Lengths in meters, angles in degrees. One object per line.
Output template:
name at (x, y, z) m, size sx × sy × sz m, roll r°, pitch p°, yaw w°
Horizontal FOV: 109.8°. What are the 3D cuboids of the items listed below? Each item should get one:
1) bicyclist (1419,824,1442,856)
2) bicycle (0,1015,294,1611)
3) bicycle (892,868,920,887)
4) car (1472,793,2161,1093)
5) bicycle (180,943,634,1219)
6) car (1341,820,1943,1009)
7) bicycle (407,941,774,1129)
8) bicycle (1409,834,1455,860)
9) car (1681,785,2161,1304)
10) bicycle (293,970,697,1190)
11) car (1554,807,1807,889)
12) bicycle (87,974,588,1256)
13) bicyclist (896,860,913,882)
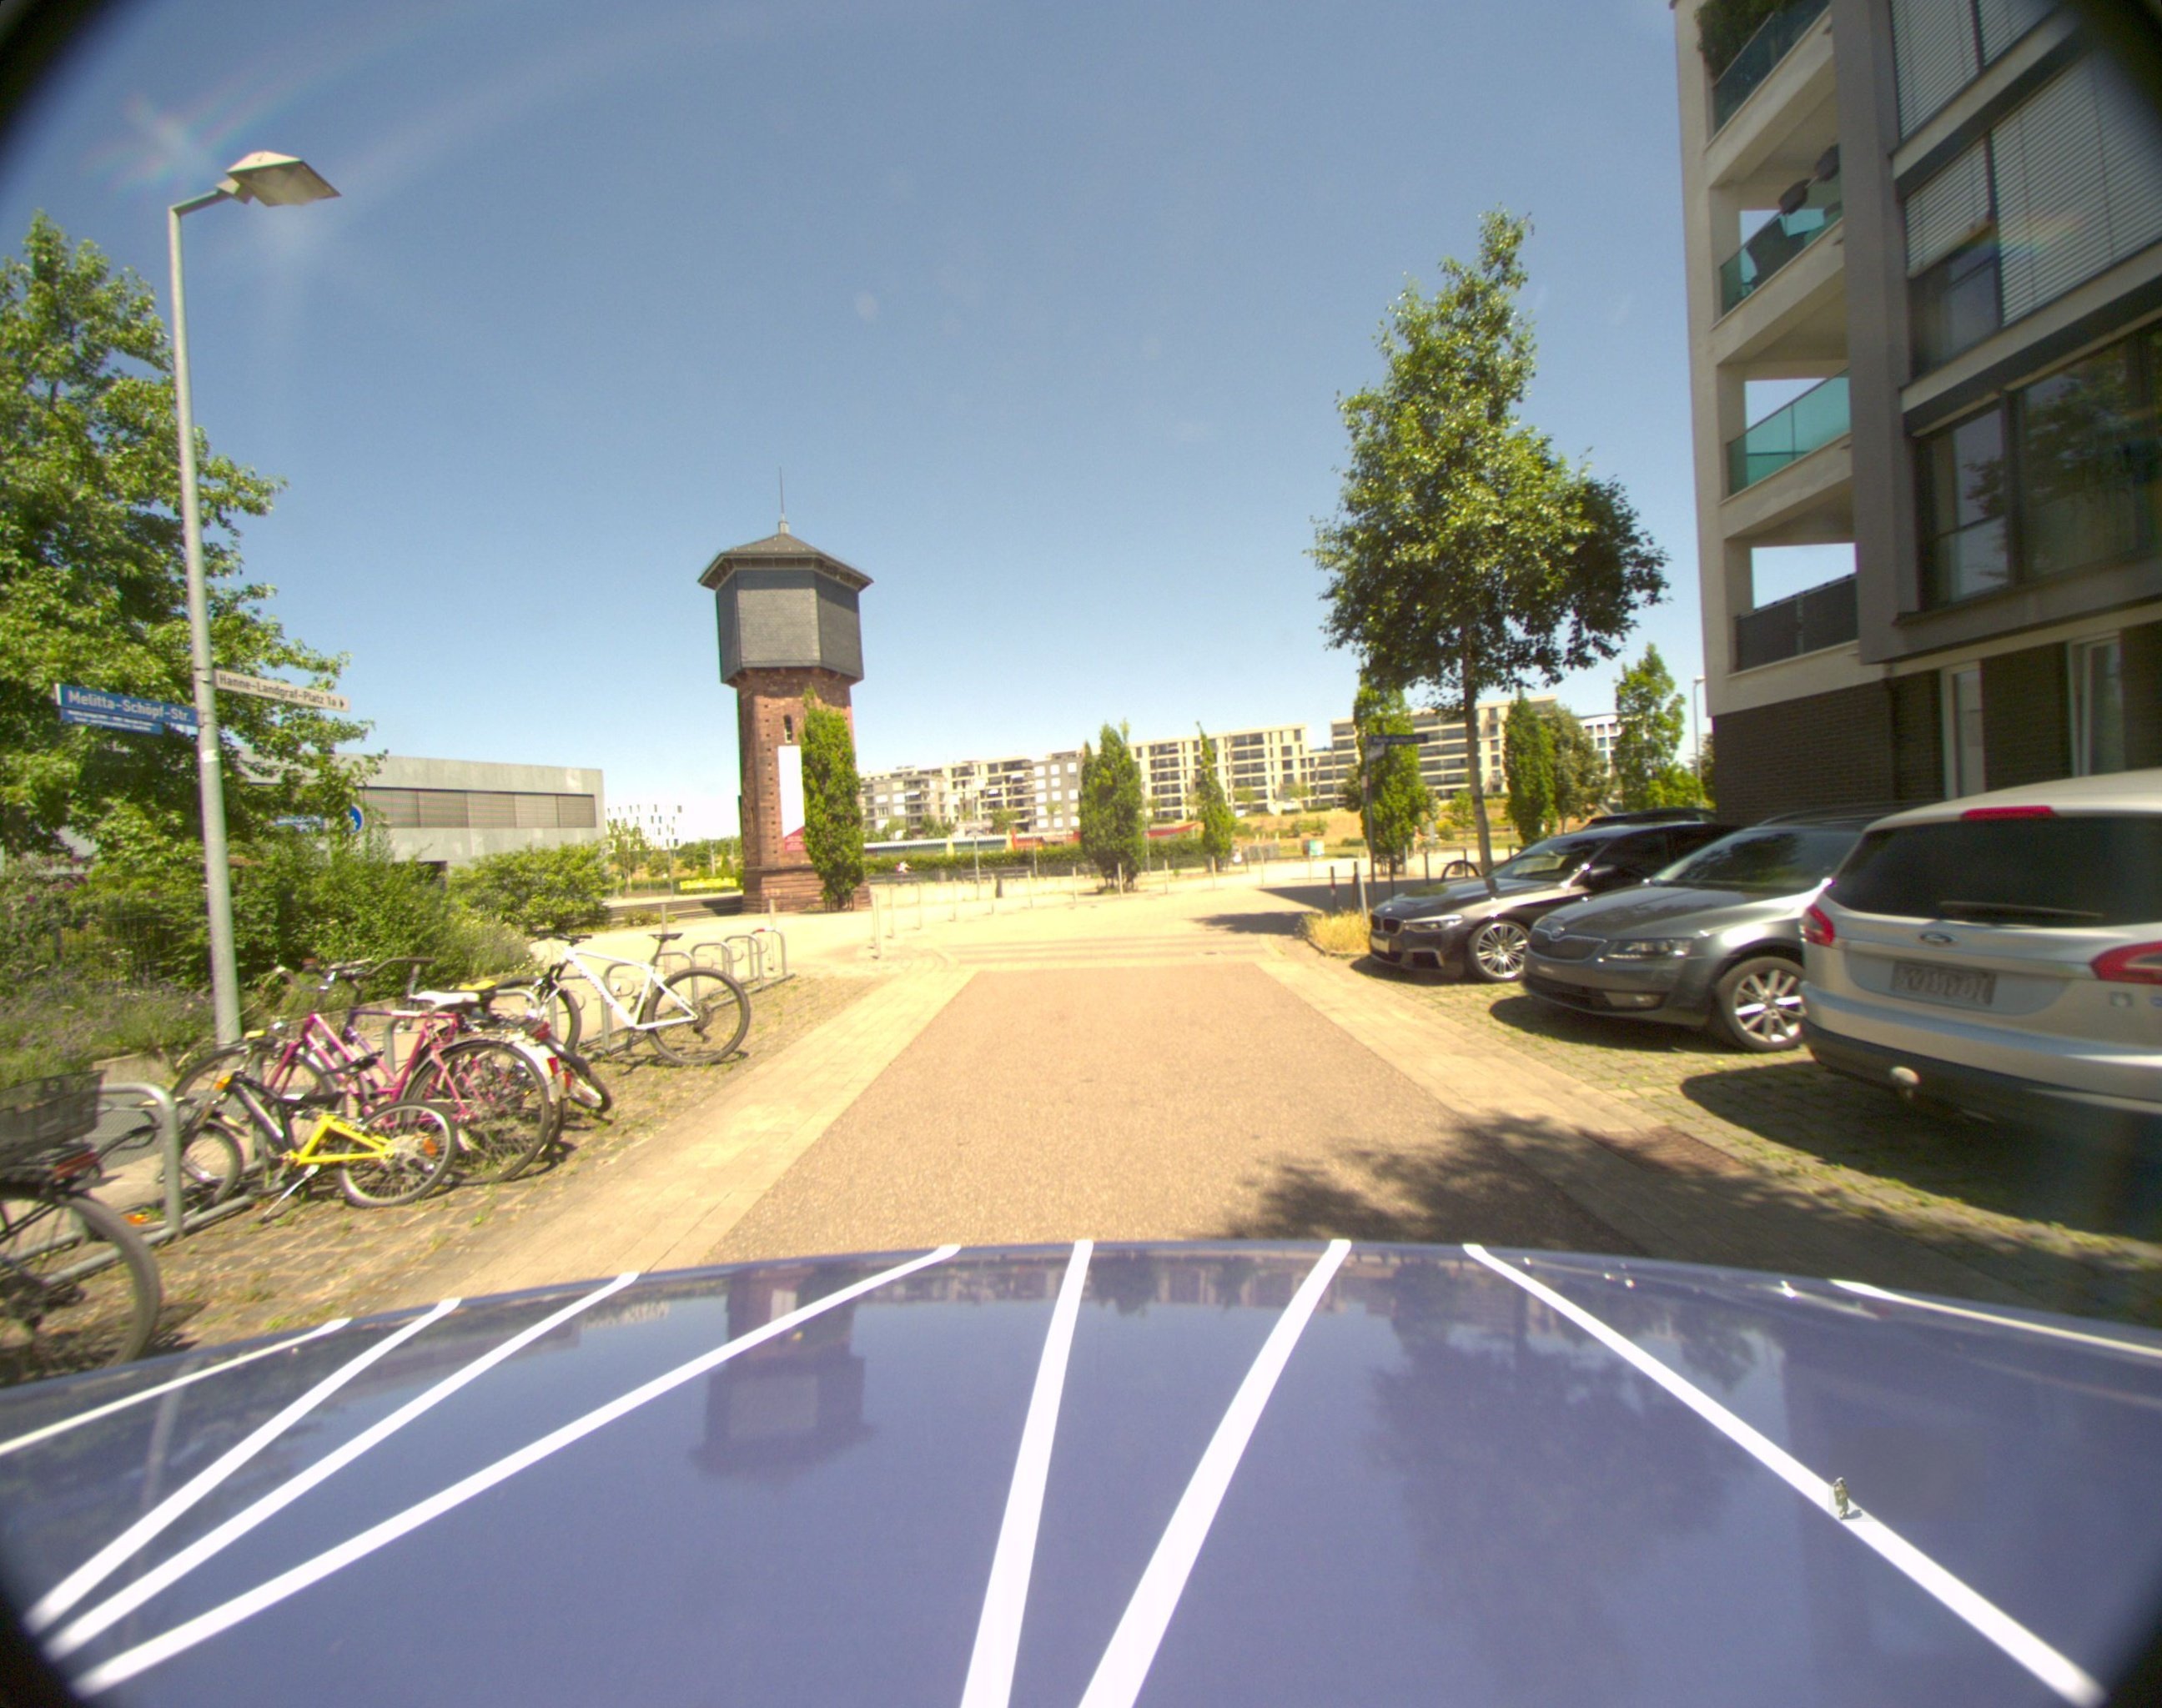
bicyclist at (17.132, -0.686, 37.265) m, size 0.881 × 1.447 × 0.860 m, roll -4°, pitch 1°, yaw 17°
bicycle at (-3.499, 1.167, 1.919) m, size 1.923 × 1.215 × 0.826 m, roll -2°, pitch 0°, yaw -15°
bicycle at (-11.867, 1.576, 51.502) m, size 1.937 × 1.192 × 0.592 m, roll -4°, pitch 1°, yaw 30°
car at (5.817, 0.497, 5.615) m, size 4.830 × 1.441 × 1.827 m, roll -6°, pitch 1°, yaw -1°
bicycle at (-3.438, 1.141, 3.958) m, size 1.854 × 1.216 × 0.555 m, roll -3°, pitch 1°, yaw 3°
car at (5.747, 0.557, 8.262) m, size 5.112 × 1.476 × 1.927 m, roll -4°, pitch 1°, yaw -1°
bicycle at (-3.433, 1.249, 5.553) m, size 2.033 × 0.997 × 0.874 m, roll -2°, pitch 1°, yaw -11°
bicycle at (17.195, -0.339, 37.275) m, size 1.911 × 1.111 × 0.800 m, roll -4°, pitch 1°, yaw 17°
car at (5.867, 0.444, 3.196) m, size 5.041 × 1.623 × 2.042 m, roll -4°, pitch 0°, yaw -1°
bicycle at (-3.480, 1.272, 4.596) m, size 1.856 × 0.969 × 0.946 m, roll -2°, pitch 1°, yaw 14°
car at (13.456, -0.123, 17.211) m, size 4.395 × 1.510 × 1.779 m, roll -3°, pitch -1°, yaw -4°
bicycle at (-3.439, 1.195, 3.582) m, size 1.887 × 1.104 × 0.476 m, roll -3°, pitch 1°, yaw 3°
bicyclist at (-11.982, 1.180, 51.561) m, size 0.659 × 1.426 × 0.734 m, roll -4°, pitch 1°, yaw 31°
